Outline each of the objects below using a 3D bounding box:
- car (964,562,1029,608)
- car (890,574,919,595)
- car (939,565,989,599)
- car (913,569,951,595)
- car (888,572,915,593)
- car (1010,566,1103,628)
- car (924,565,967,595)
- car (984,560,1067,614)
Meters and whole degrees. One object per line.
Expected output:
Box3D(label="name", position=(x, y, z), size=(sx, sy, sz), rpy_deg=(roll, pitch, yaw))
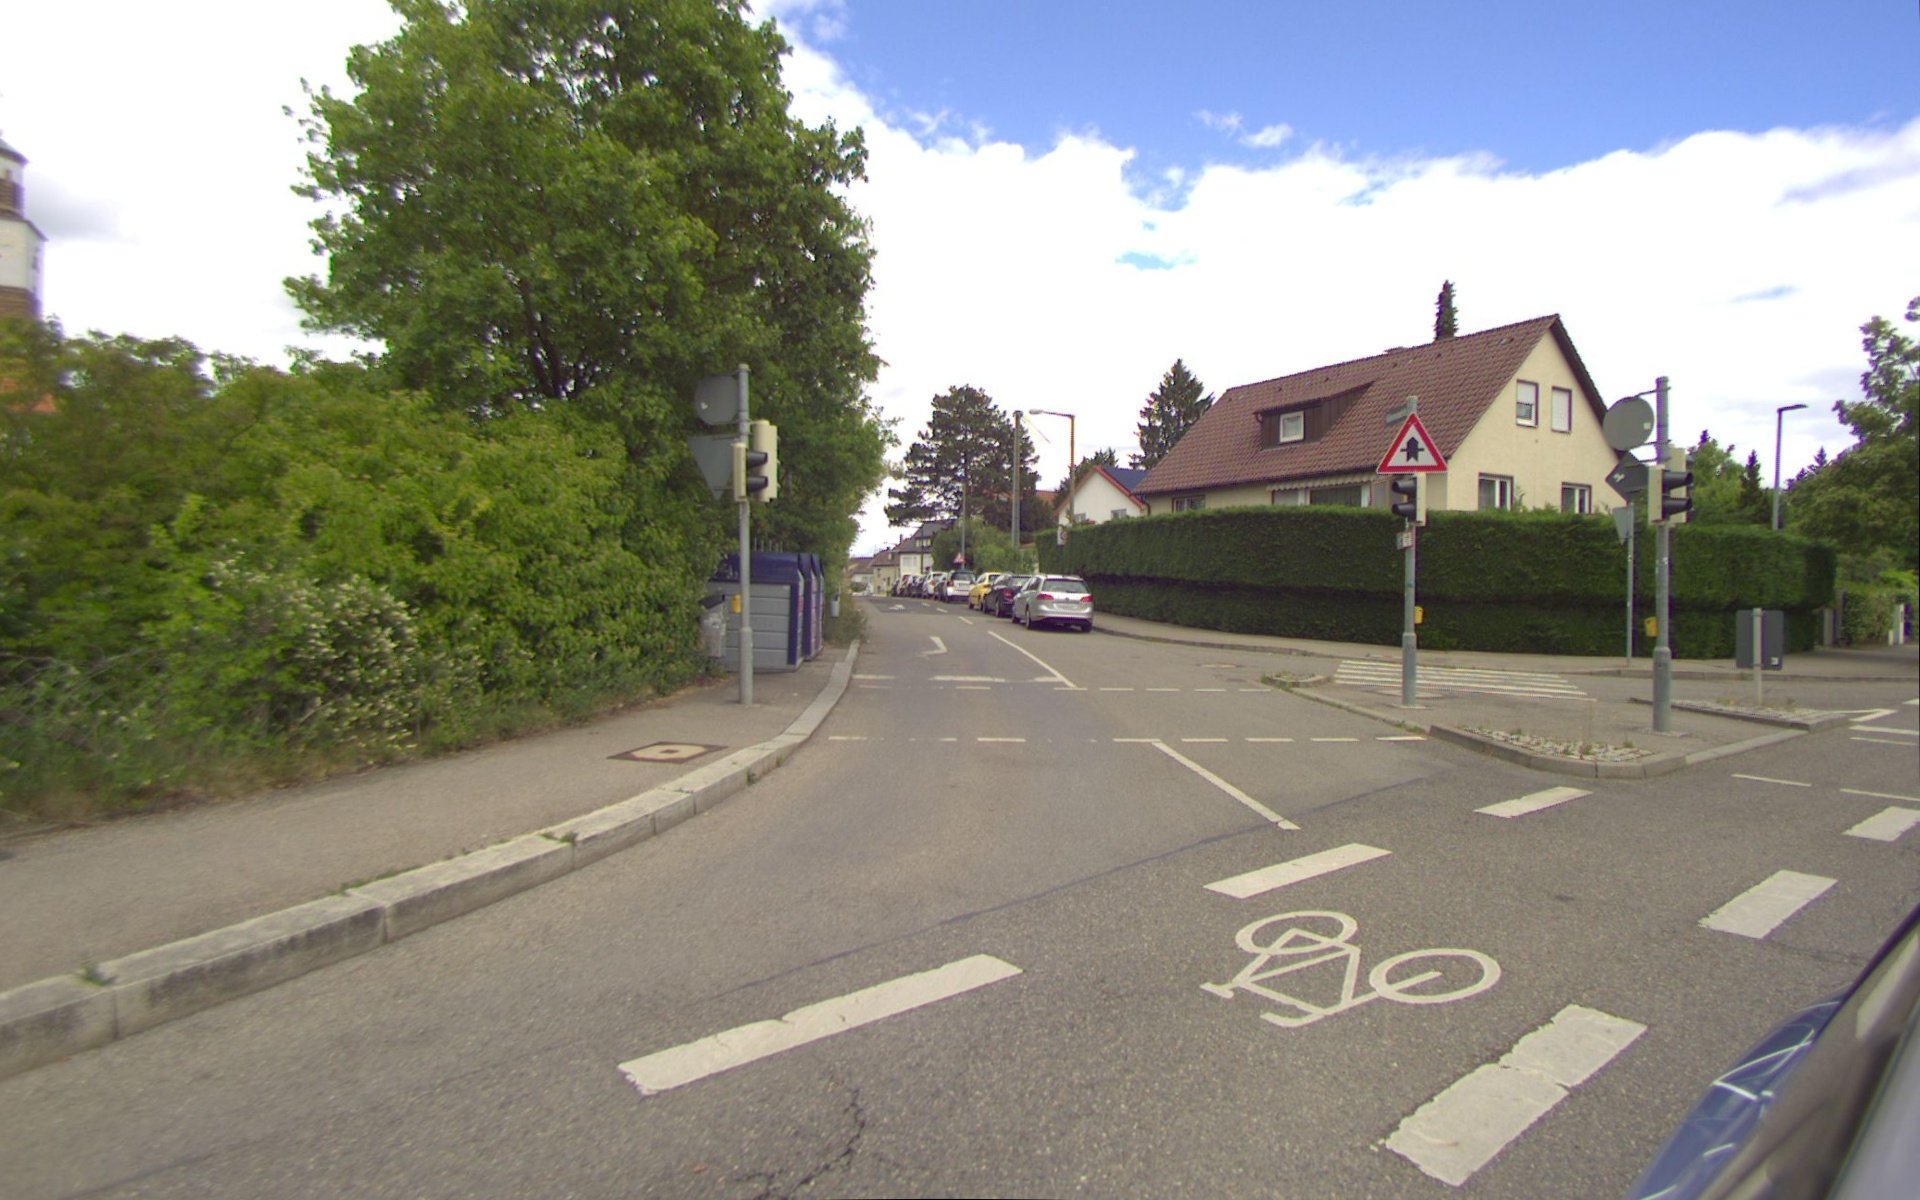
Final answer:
Box3D(label="car", position=(1.343, -0.621, 38.604), size=(1.833, 1.633, 4.146), rpy_deg=(1, 2, -7))
Box3D(label="car", position=(-4.171, -1.189, 75.863), size=(1.873, 1.489, 4.475), rpy_deg=(1, 2, -7))
Box3D(label="car", position=(0.139, -0.896, 47.820), size=(1.833, 1.489, 4.359), rpy_deg=(1, 2, -7))
Box3D(label="car", position=(-1.738, -1.119, 61.288), size=(1.873, 1.489, 4.795), rpy_deg=(1, 2, -7))
Box3D(label="car", position=(-4.735, -1.439, 81.674), size=(1.873, 1.610, 4.438), rpy_deg=(1, 2, -7))
Box3D(label="car", position=(2.524, -0.135, 27.384), size=(1.679, 1.461, 3.929), rpy_deg=(2, 2, -6))
Box3D(label="car", position=(-0.816, -1.102, 54.388), size=(1.833, 1.489, 4.359), rpy_deg=(1, 2, -7))
Box3D(label="car", position=(2.051, -0.469, 33.164), size=(1.959, 1.660, 4.146), rpy_deg=(1, 2, -7))
